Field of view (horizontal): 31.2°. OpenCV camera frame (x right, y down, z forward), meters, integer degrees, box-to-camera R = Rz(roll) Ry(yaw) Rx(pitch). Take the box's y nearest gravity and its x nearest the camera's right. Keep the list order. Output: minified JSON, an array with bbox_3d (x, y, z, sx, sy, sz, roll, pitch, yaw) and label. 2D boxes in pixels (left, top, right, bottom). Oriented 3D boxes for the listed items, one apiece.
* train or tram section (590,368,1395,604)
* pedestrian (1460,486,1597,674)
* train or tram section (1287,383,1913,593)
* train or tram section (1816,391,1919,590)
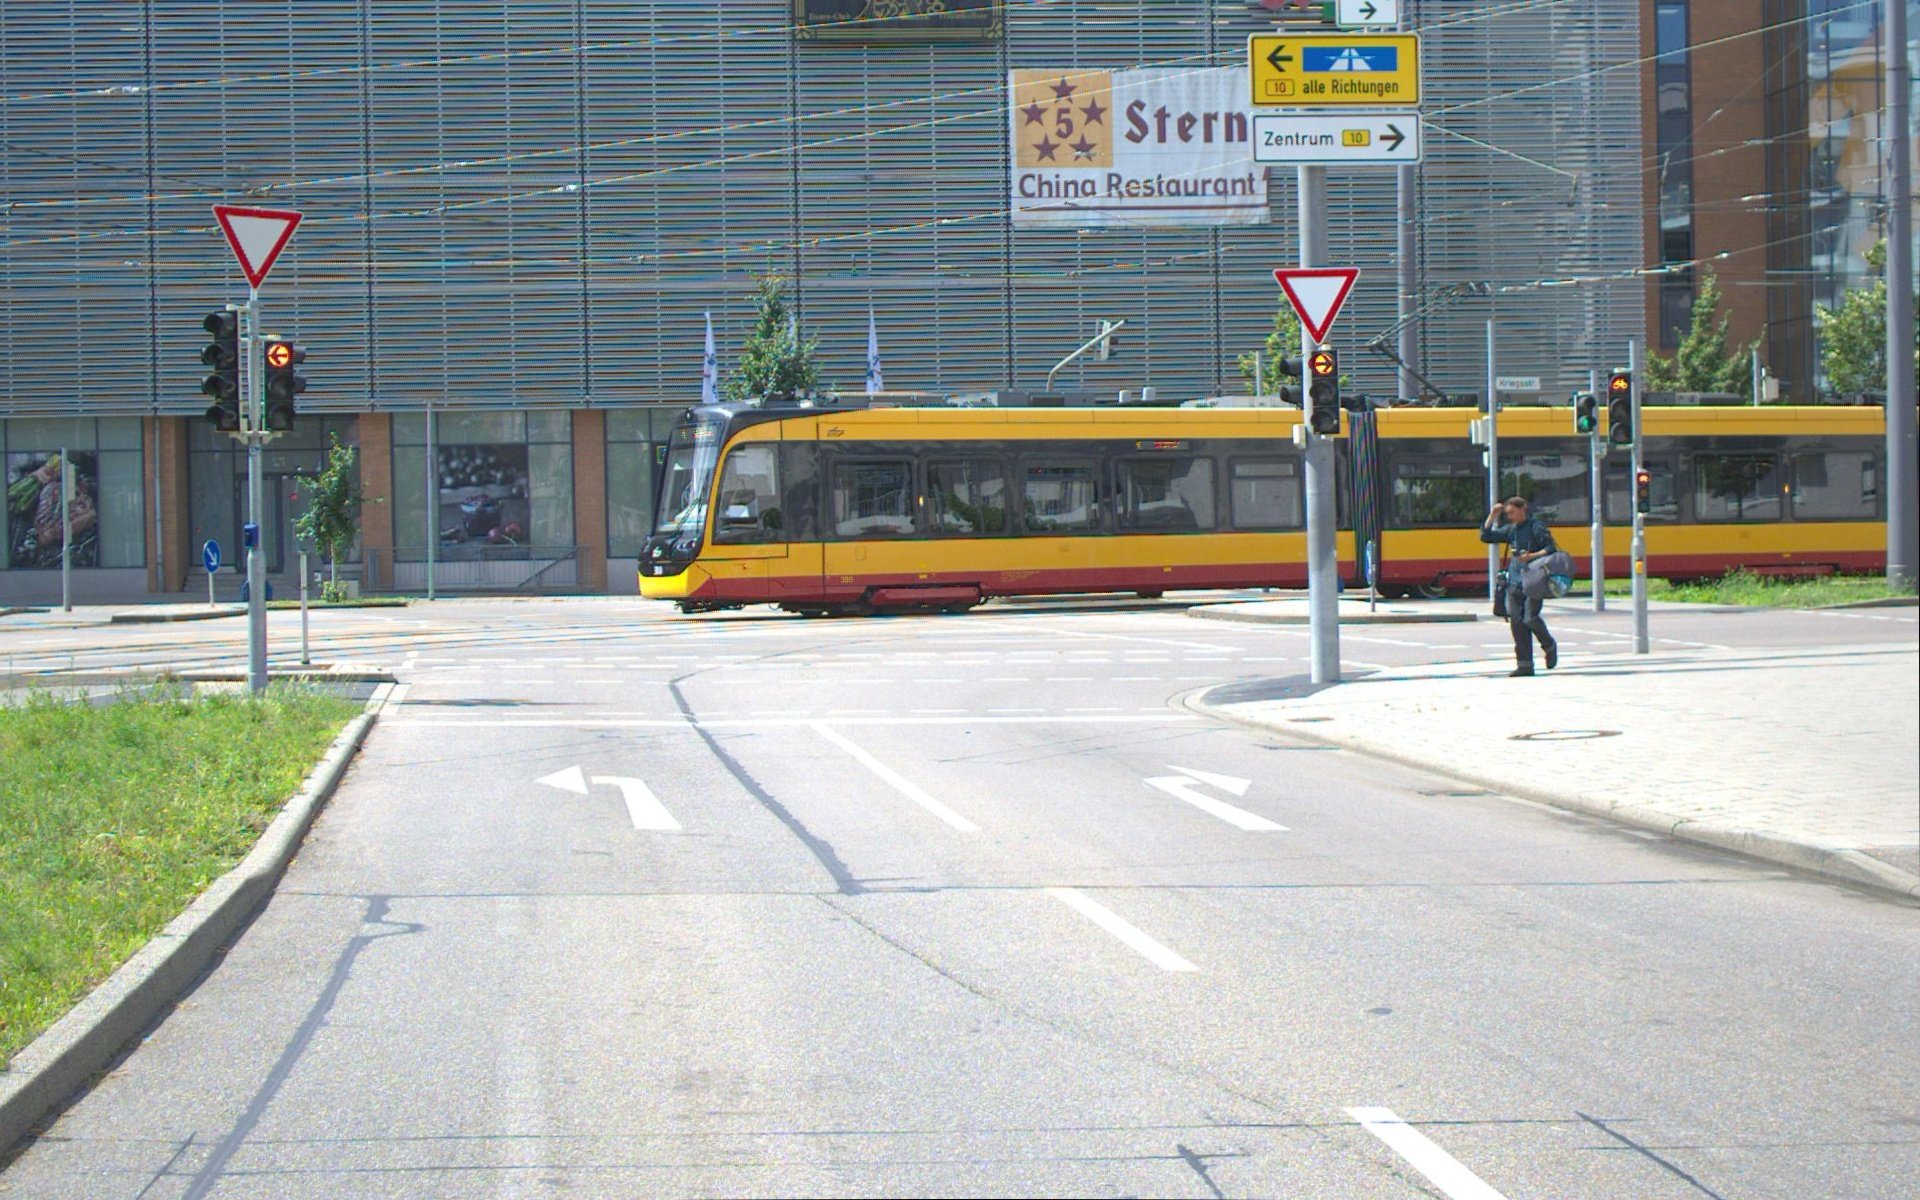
[{"bbox_3d":[0.745,-1.844,57.053,13.454,3.587,3.227,-1,2,-28],"label":"train or tram section"},{"bbox_3d":[5.295,-0.188,32.039,0.806,1.696,0.918,-3,1,-34],"label":"pedestrian"},{"bbox_3d":[11.578,-1.984,62.080,10.953,3.590,3.066,0,2,-18],"label":"train or tram section"},{"bbox_3d":[22.809,-2.057,65.746,12.590,3.608,3.066,0,1,-15],"label":"train or tram section"}]
